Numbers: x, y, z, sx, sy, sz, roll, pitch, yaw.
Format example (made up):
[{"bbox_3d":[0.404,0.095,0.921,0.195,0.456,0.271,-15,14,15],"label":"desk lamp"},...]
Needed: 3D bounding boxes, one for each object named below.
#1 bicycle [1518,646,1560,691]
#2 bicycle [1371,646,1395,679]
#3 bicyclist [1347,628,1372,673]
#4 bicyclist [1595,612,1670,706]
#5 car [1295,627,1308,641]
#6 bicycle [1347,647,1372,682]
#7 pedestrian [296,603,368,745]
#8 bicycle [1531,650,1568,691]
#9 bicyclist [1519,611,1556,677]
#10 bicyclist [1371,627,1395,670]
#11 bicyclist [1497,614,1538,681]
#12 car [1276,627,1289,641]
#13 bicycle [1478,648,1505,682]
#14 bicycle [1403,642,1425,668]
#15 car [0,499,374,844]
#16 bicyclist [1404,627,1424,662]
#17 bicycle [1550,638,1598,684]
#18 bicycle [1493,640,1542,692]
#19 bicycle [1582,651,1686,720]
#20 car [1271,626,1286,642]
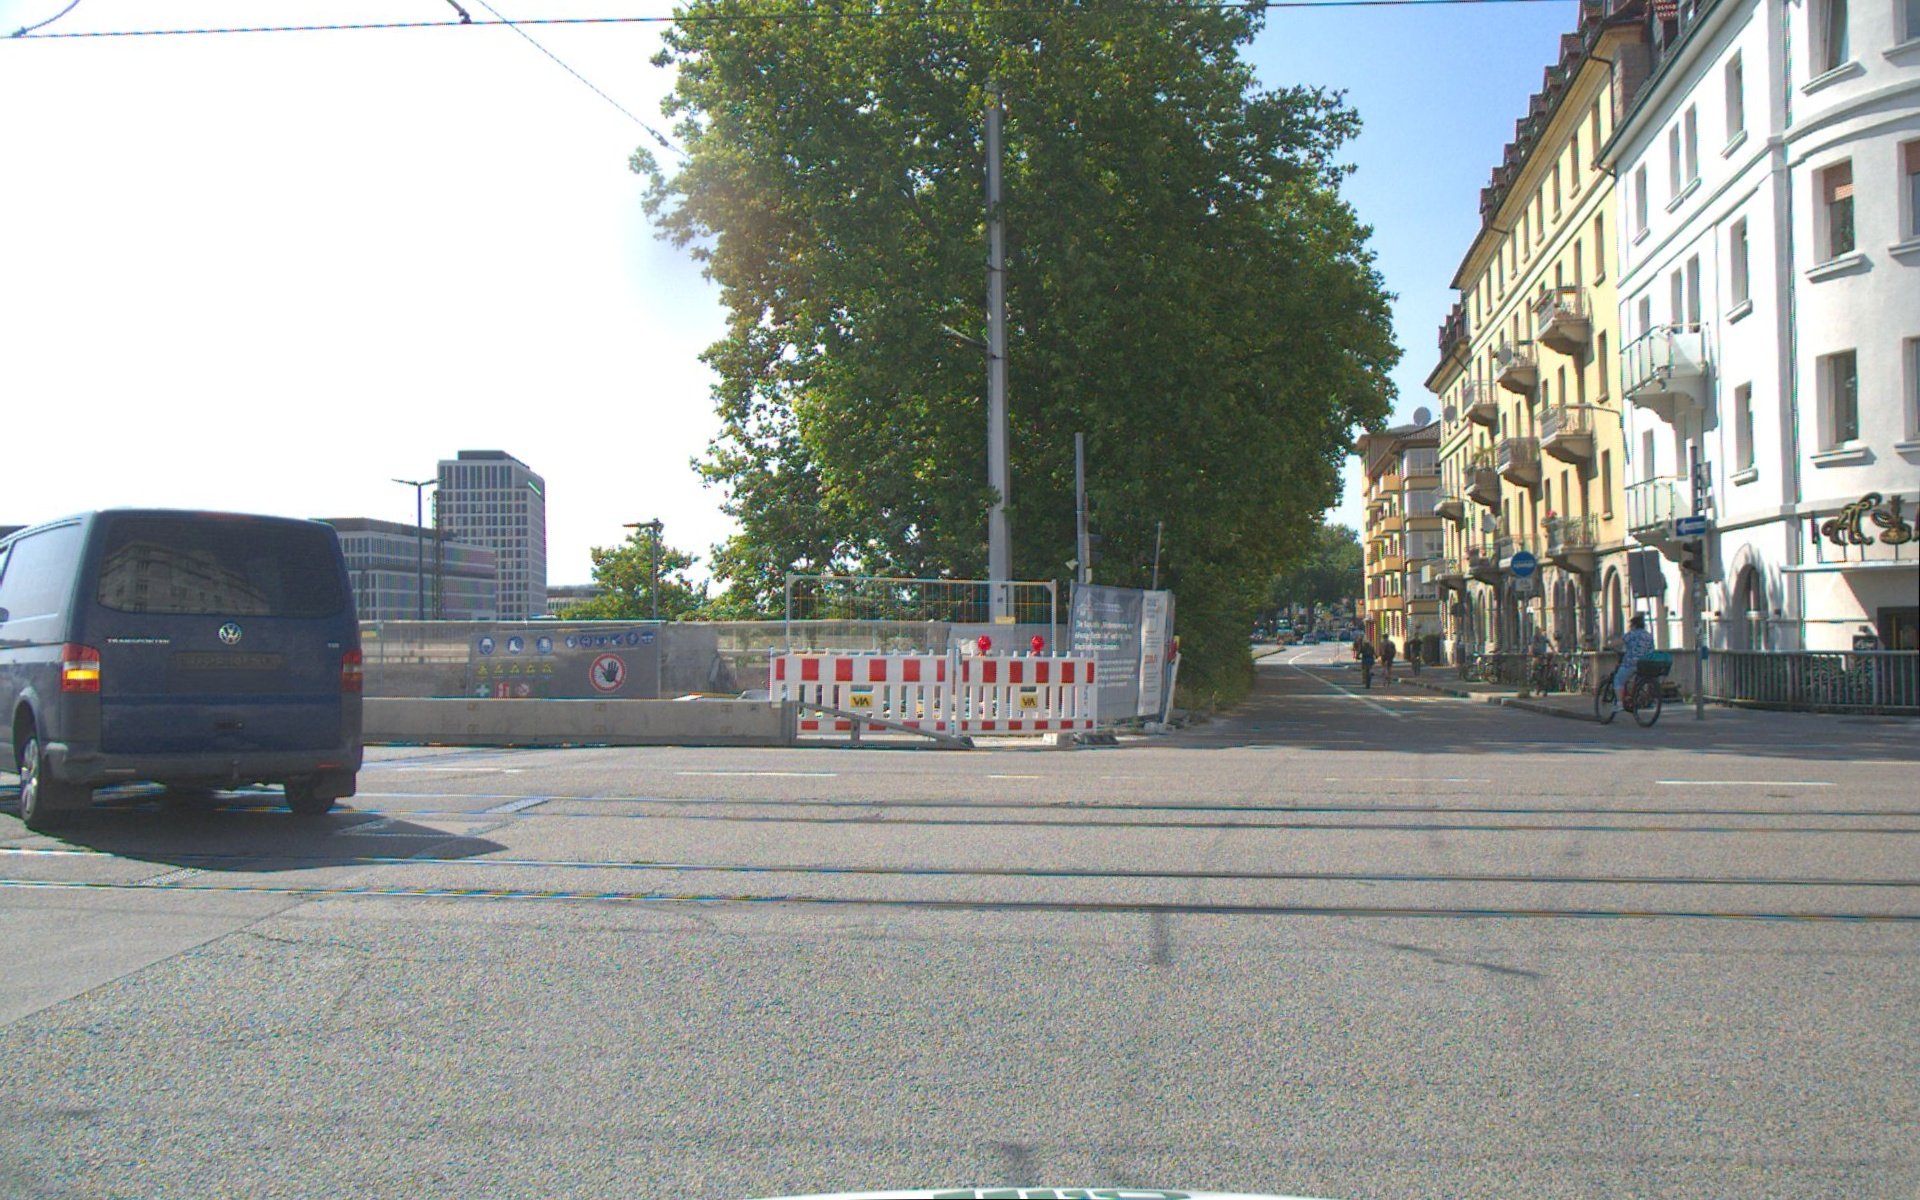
[{"bbox_3d":[14.328,1.683,40.963,0.693,1.008,1.821,-2,0,11],"label":"bicycle"},{"bbox_3d":[15.344,2.258,60.017,0.819,1.156,2.861,0,-1,14],"label":"bicycle"},{"bbox_3d":[13.864,1.754,57.447,0.819,1.564,1.024,0,-2,13],"label":"bicyclist"},{"bbox_3d":[10.544,0.922,25.957,0.847,1.440,0.917,0,-1,4],"label":"bicyclist"},{"bbox_3d":[44.358,4.380,214.722,1.591,1.651,3.699,0,0,10],"label":"car"},{"bbox_3d":[13.879,2.221,57.476,0.819,1.156,2.860,0,-1,14],"label":"bicycle"},{"bbox_3d":[-8.395,0.963,22.092,0.849,1.826,0.816,-1,1,-24],"label":"pedestrian"},{"bbox_3d":[16.605,1.978,46.610,0.665,1.094,2.294,0,-1,12],"label":"bicycle"},{"bbox_3d":[14.317,1.090,41.013,0.693,1.577,0.785,-2,-1,11],"label":"bicyclist"},{"bbox_3d":[15.369,1.767,60.136,0.819,1.564,1.024,0,-2,13],"label":"bicyclist"},{"bbox_3d":[12.997,1.111,38.576,0.819,1.534,0.953,0,-2,13],"label":"bicyclist"},{"bbox_3d":[41.762,4.385,214.452,1.591,1.651,3.699,0,0,10],"label":"car"},{"bbox_3d":[18.359,2.228,57.154,0.665,1.094,2.294,0,-1,12],"label":"bicycle"},{"bbox_3d":[20.259,2.440,73.843,0.819,1.156,2.861,0,-1,14],"label":"bicycle"},{"bbox_3d":[-5.689,0.387,11.425,1.805,1.939,3.995,0,0,-40],"label":"car"},{"bbox_3d":[20.244,1.981,73.805,0.819,1.564,1.024,0,-2,13],"label":"bicyclist"},{"bbox_3d":[15.918,1.561,42.917,0.819,1.156,2.861,0,-1,13],"label":"bicycle"},{"bbox_3d":[13.017,1.521,38.662,0.819,1.156,2.861,0,-1,13],"label":"bicycle"},{"bbox_3d":[10.569,1.326,26.030,0.847,1.007,2.247,0,-1,4],"label":"bicycle"},{"bbox_3d":[35.585,3.825,184.598,1.591,1.651,3.699,0,0,10],"label":"car"}]
